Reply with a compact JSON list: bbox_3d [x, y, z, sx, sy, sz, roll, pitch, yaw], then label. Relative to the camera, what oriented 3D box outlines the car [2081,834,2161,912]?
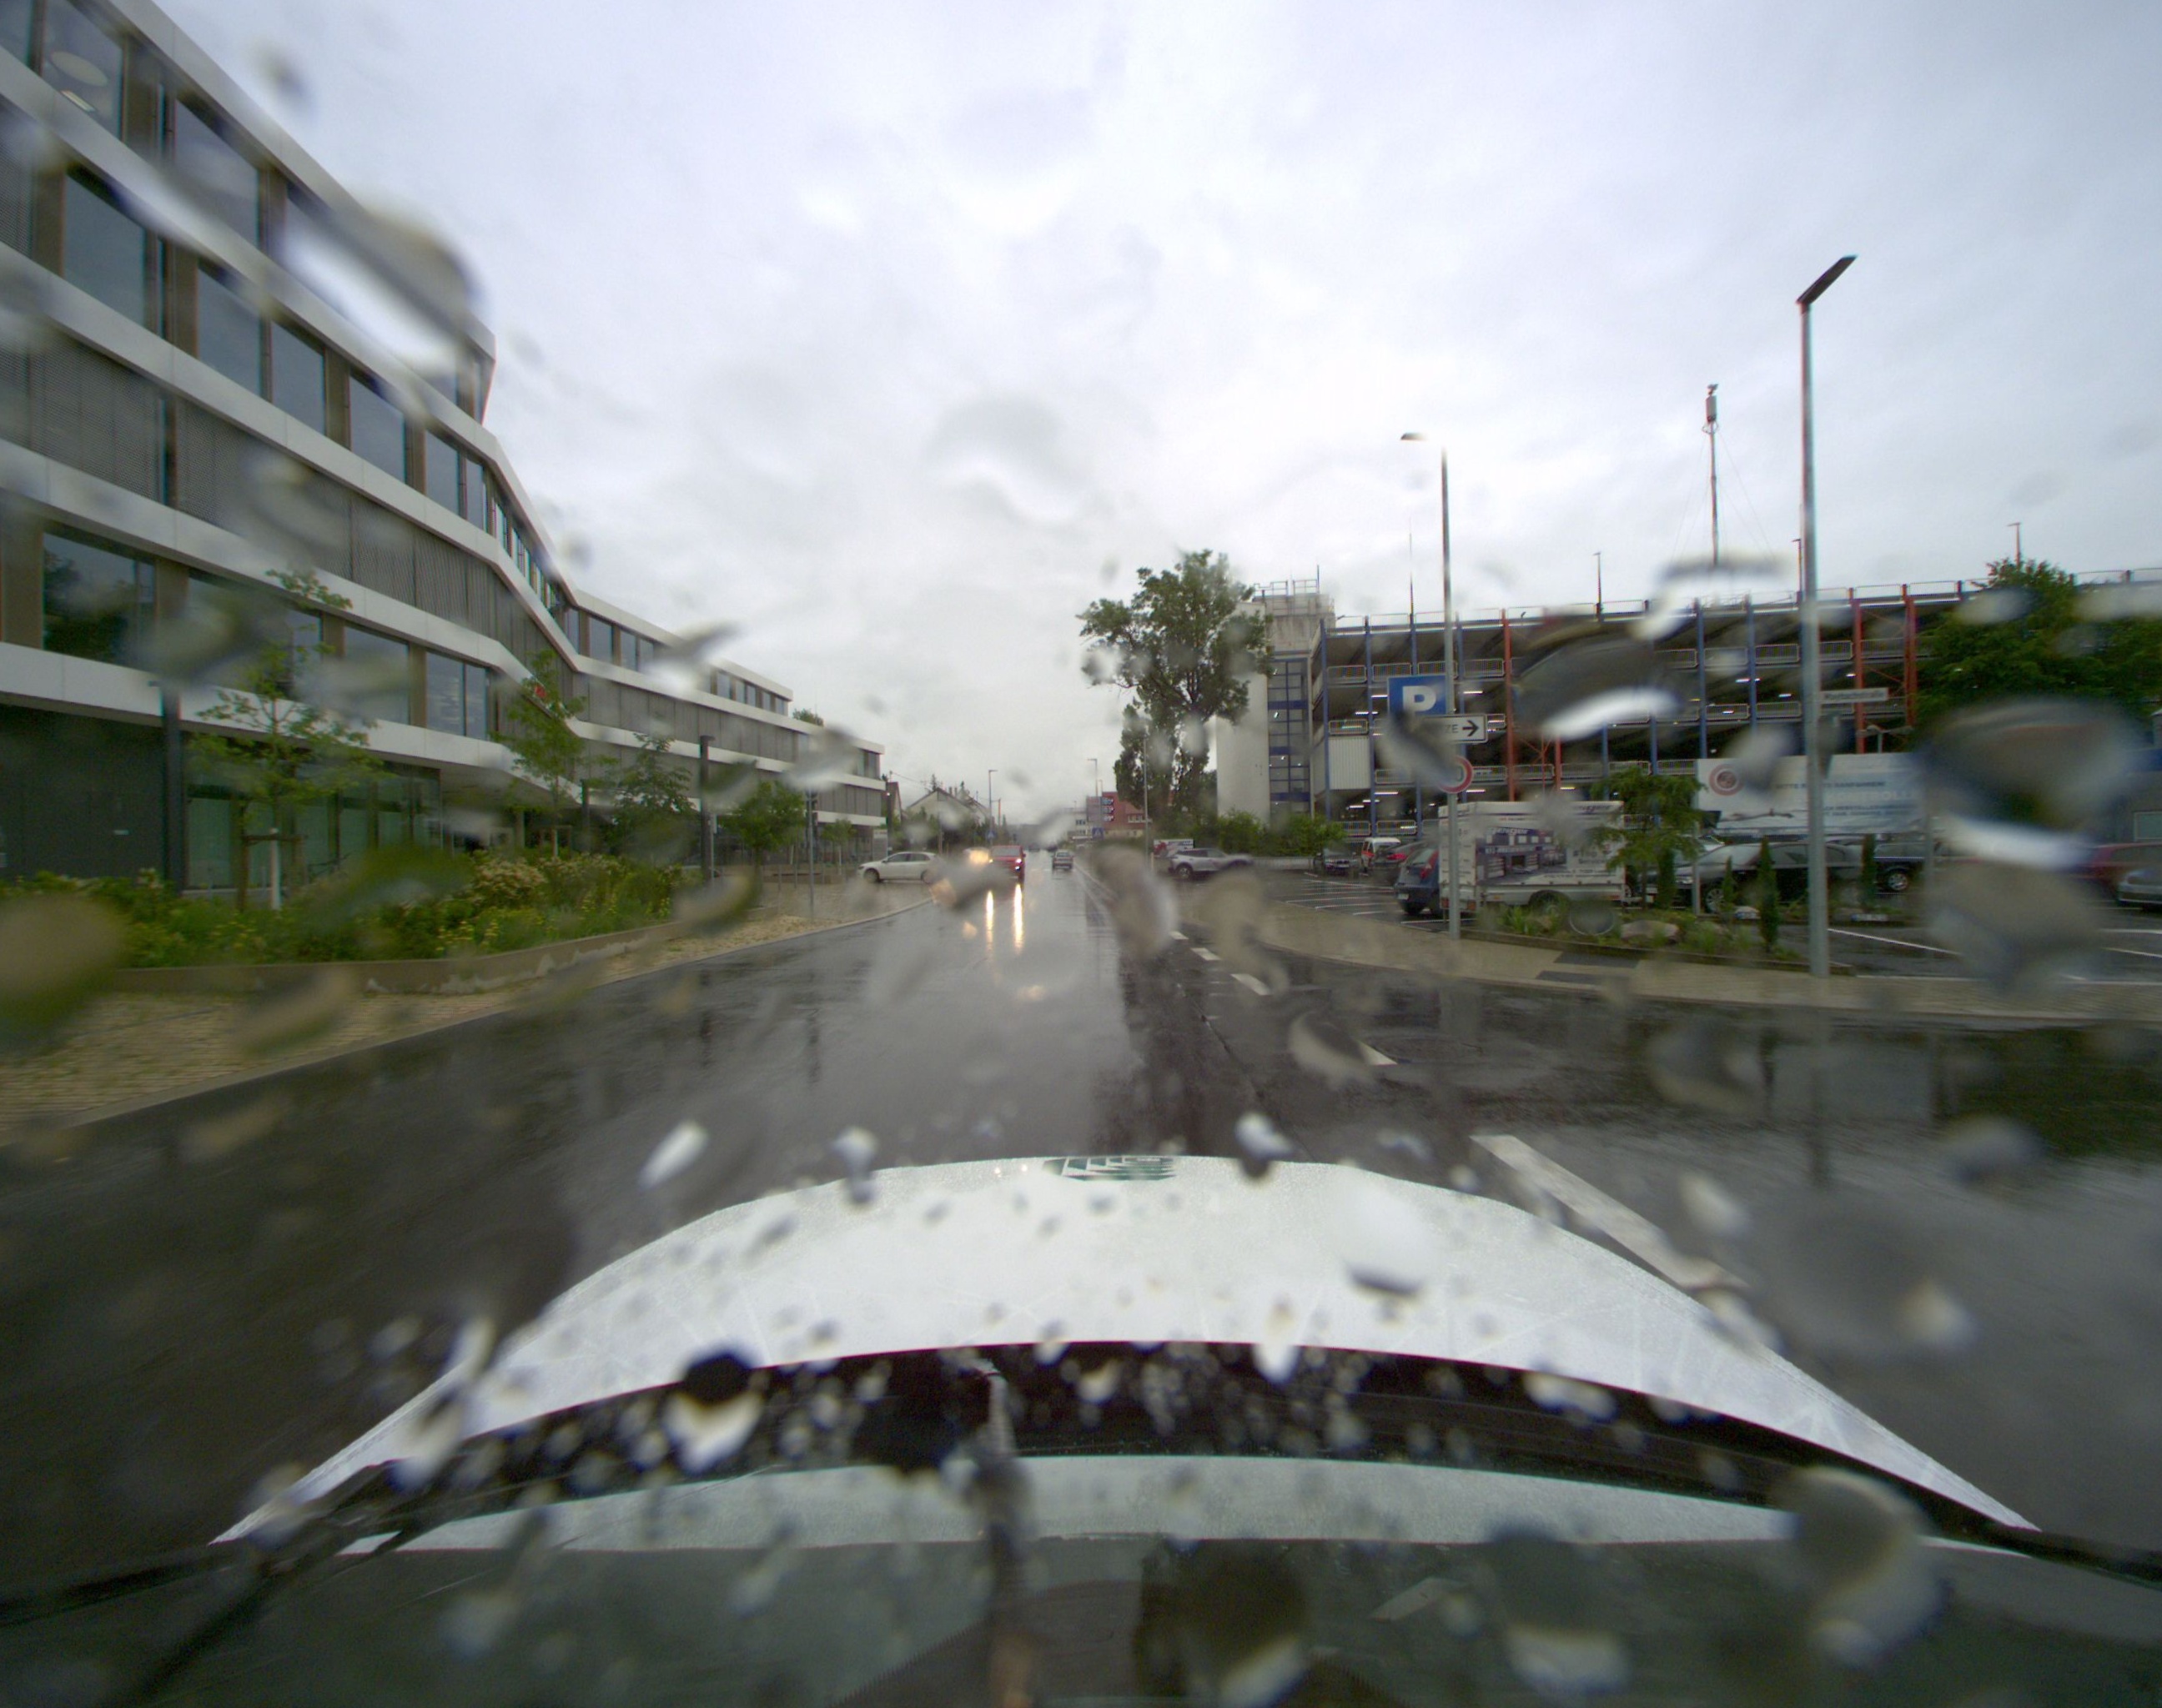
[{"bbox_3d":[23.184,0.308,16.057,4.099,1.497,1.871,-2,0,12],"label":"car"}]

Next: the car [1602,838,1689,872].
[{"bbox_3d":[27.164,0.088,39.373,1.881,1.486,4.009,2,-1,9],"label":"car"}]

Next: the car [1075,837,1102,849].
[{"bbox_3d":[1.214,-1.786,132.202,4.106,1.706,1.785,3,-2,-6],"label":"car"}]

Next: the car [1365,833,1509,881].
[{"bbox_3d":[12.607,0.084,29.015,4.347,1.559,1.837,-1,0,-4],"label":"car"}]

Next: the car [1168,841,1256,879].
[{"bbox_3d":[6.500,0.276,40.671,4.184,1.649,2.004,-3,0,7],"label":"car"}]

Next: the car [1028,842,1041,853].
[{"bbox_3d":[-8.364,-1.221,147.757,2.149,1.706,3.996,3,-1,-2],"label":"car"}]

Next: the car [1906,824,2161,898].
[{"bbox_3d":[24.142,0.169,20.762,4.105,1.667,1.869,-2,0,6],"label":"car"}]

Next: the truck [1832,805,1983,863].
[{"bbox_3d":[37.384,-0.816,37.091,1.983,2.269,5.317,2,-1,8],"label":"truck"}]

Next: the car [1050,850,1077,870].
[{"bbox_3d":[-1.517,0.528,68.486,1.945,1.556,3.993,3,-1,-5],"label":"car"}]

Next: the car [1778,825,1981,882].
[{"bbox_3d":[24.947,-0.011,25.591,4.332,1.583,1.868,-2,0,6],"label":"car"}]

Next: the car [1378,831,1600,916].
[{"bbox_3d":[8.277,0.383,16.710,3.717,1.529,1.648,-2,-1,-3],"label":"car"}]

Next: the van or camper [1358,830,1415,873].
[{"bbox_3d":[15.384,-0.147,41.219,1.827,2.036,4.473,-1,0,9],"label":"van or camper"}]

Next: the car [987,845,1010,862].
[{"bbox_3d":[-8.222,-0.084,81.184,1.989,1.629,4.150,-1,1,-2],"label":"car"}]

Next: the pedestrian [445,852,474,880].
[{"bbox_3d":[-29.867,0.570,39.144,0.901,1.314,1.051,4,-2,-29],"label":"pedestrian"}]

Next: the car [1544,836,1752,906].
[{"bbox_3d":[13.016,0.368,18.826,3.721,1.449,1.727,-1,0,-6],"label":"car"}]

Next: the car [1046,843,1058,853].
[{"bbox_3d":[-5.286,-1.090,147.673,1.989,1.706,3.996,3,-1,-2],"label":"car"}]

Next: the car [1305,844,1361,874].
[{"bbox_3d":[12.721,0.231,41.327,1.923,1.442,4.214,-1,0,6],"label":"car"}]

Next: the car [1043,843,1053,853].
[{"bbox_3d":[-6.507,-1.181,160.734,1.989,1.706,3.996,3,-1,-2],"label":"car"}]

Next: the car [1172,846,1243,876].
[{"bbox_3d":[6.692,0.363,43.340,3.602,1.494,1.810,-2,0,6],"label":"car"}]

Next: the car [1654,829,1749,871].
[{"bbox_3d":[29.586,-0.141,38.987,1.881,1.814,4.009,2,-1,9],"label":"car"}]

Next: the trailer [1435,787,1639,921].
[{"bbox_3d":[7.848,0.002,14.185,2.693,2.171,1.548,-1,0,-1],"label":"trailer"}]

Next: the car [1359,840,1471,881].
[{"bbox_3d":[12.908,0.229,31.622,3.677,1.500,1.641,-1,0,-2],"label":"car"}]

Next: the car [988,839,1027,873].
[{"bbox_3d":[-4.142,0.107,46.460,1.998,1.818,4.974,-1,0,-3],"label":"car"}]

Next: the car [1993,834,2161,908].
[{"bbox_3d":[24.076,0.346,18.605,4.105,1.497,1.869,-2,0,6],"label":"car"}]

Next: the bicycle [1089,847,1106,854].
[{"bbox_3d":[2.545,-0.541,125.636,0.673,1.067,3.591,4,-2,-34],"label":"bicycle"}]

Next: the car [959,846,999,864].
[{"bbox_3d":[-13.014,0.122,104.187,4.737,2.014,2.000,3,-2,0],"label":"car"}]

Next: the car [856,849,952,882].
[{"bbox_3d":[-7.998,0.492,37.064,3.917,1.423,1.897,-1,0,-2],"label":"car"}]

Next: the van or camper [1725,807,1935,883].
[{"bbox_3d":[25.507,-0.284,27.910,4.931,2.326,2.226,-2,0,5],"label":"van or camper"}]

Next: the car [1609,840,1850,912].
[{"bbox_3d":[13.097,0.419,16.562,3.721,1.315,1.689,-1,0,-6],"label":"car"}]

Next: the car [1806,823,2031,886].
[{"bbox_3d":[24.032,0.018,23.518,4.332,1.583,1.868,-2,0,6],"label":"car"}]
